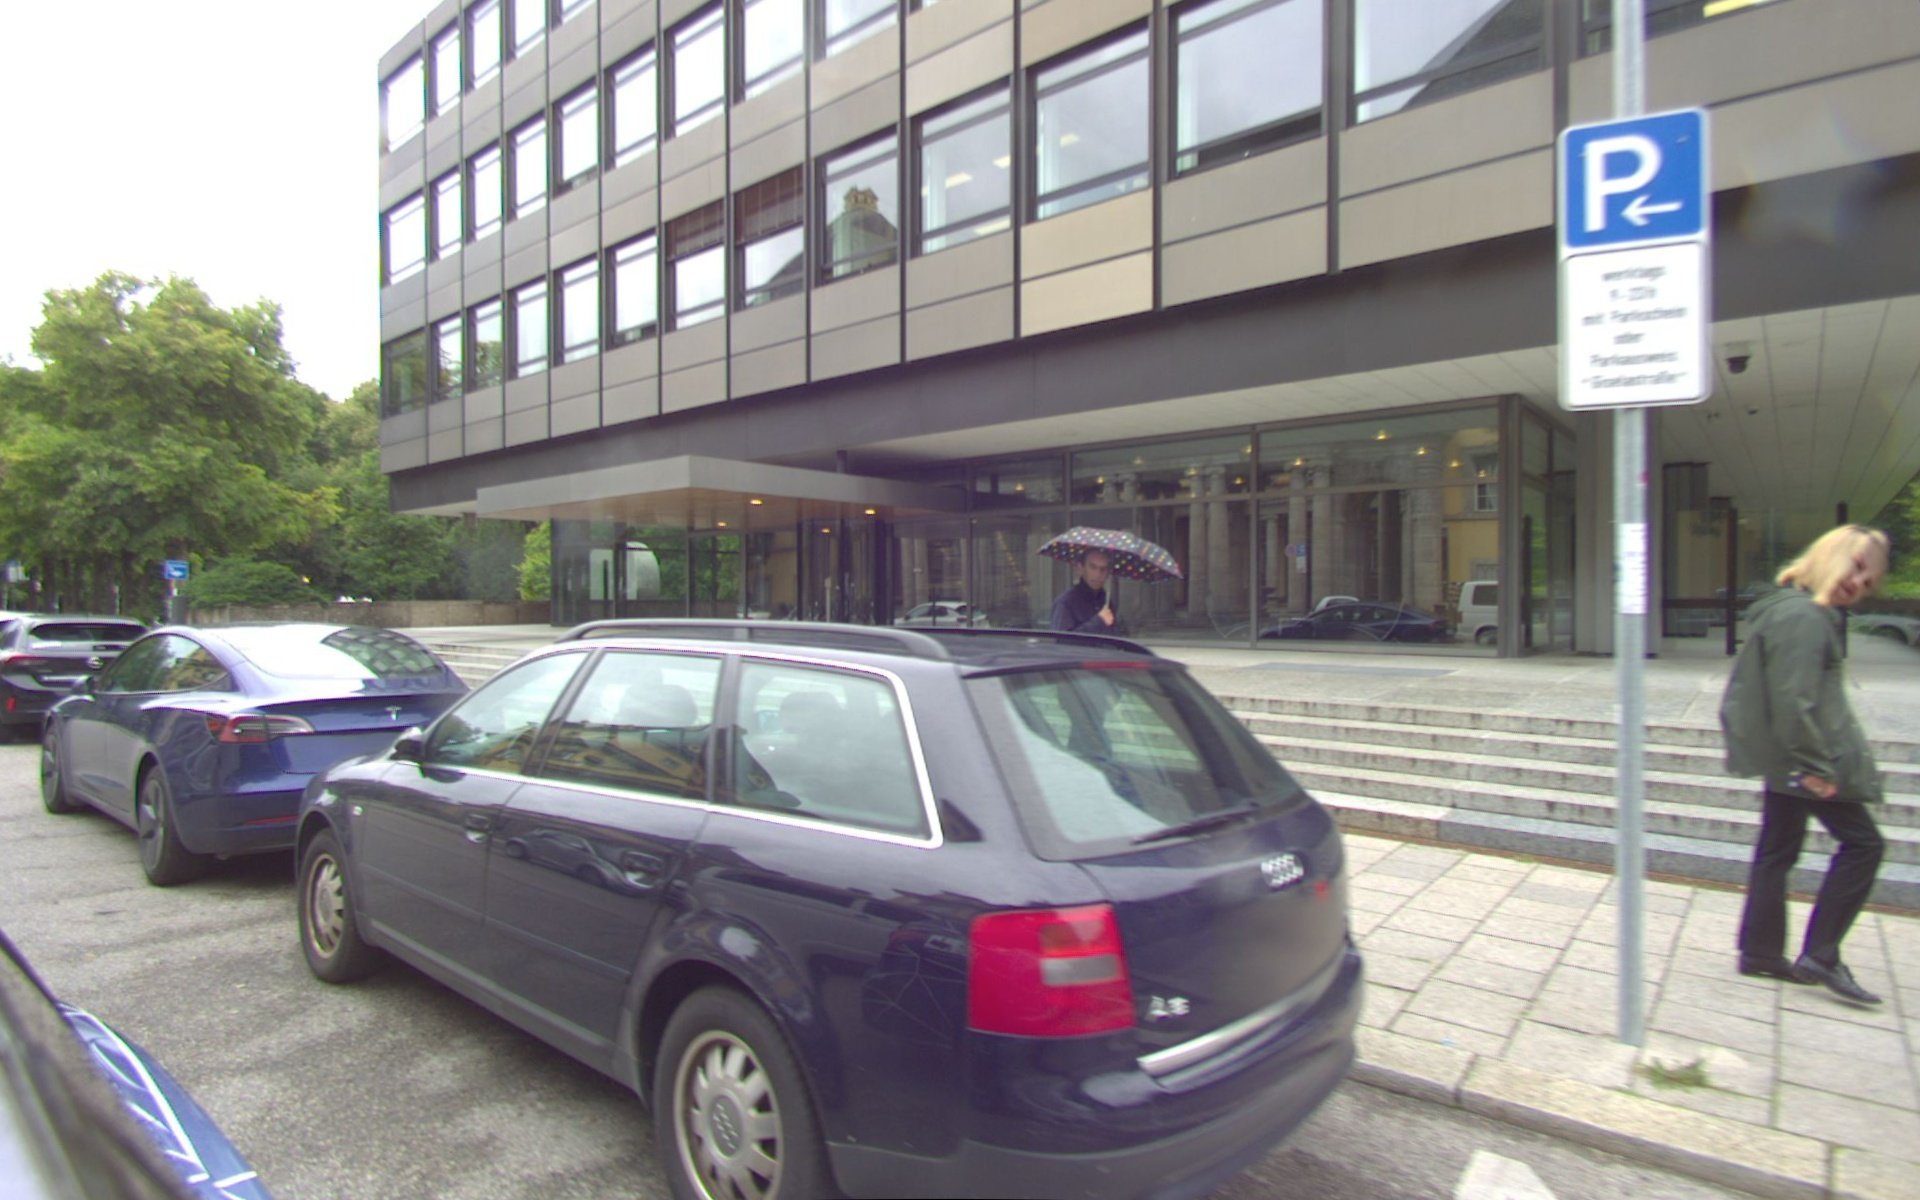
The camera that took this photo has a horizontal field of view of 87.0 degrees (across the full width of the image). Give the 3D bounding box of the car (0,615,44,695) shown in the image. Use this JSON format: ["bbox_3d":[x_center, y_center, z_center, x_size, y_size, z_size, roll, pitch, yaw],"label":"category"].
[{"bbox_3d":[-19.132,1.024,19.644,3.550,1.482,1.528,-1,-2,40],"label":"car"}]

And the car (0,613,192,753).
[{"bbox_3d":[-11.170,0.917,12.645,4.235,1.472,1.721,-1,-3,42],"label":"car"}]

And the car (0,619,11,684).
[{"bbox_3d":[-22.991,1.112,22.939,4.216,1.411,1.739,-1,-4,42],"label":"car"}]

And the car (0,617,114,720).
[{"bbox_3d":[-14.918,1.001,16.008,4.277,1.451,1.664,-1,-3,41],"label":"car"}]

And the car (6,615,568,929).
[{"bbox_3d":[-4.965,0.871,7.139,4.913,1.450,1.904,0,-2,39],"label":"car"}]

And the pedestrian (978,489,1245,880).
[{"bbox_3d":[0.933,0.459,6.189,1.220,2.070,1.124,-1,-1,40],"label":"pedestrian"}]

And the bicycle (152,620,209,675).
[{"bbox_3d":[-17.465,1.044,22.663,1.525,1.173,0.636,-1,2,39],"label":"bicycle"}]

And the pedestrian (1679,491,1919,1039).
[{"bbox_3d":[3.248,0.530,3.628,0.744,1.762,0.954,0,0,-43],"label":"pedestrian"}]

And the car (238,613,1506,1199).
[{"bbox_3d":[-0.877,0.816,3.830,4.881,1.502,1.972,-1,-2,42],"label":"car"}]
